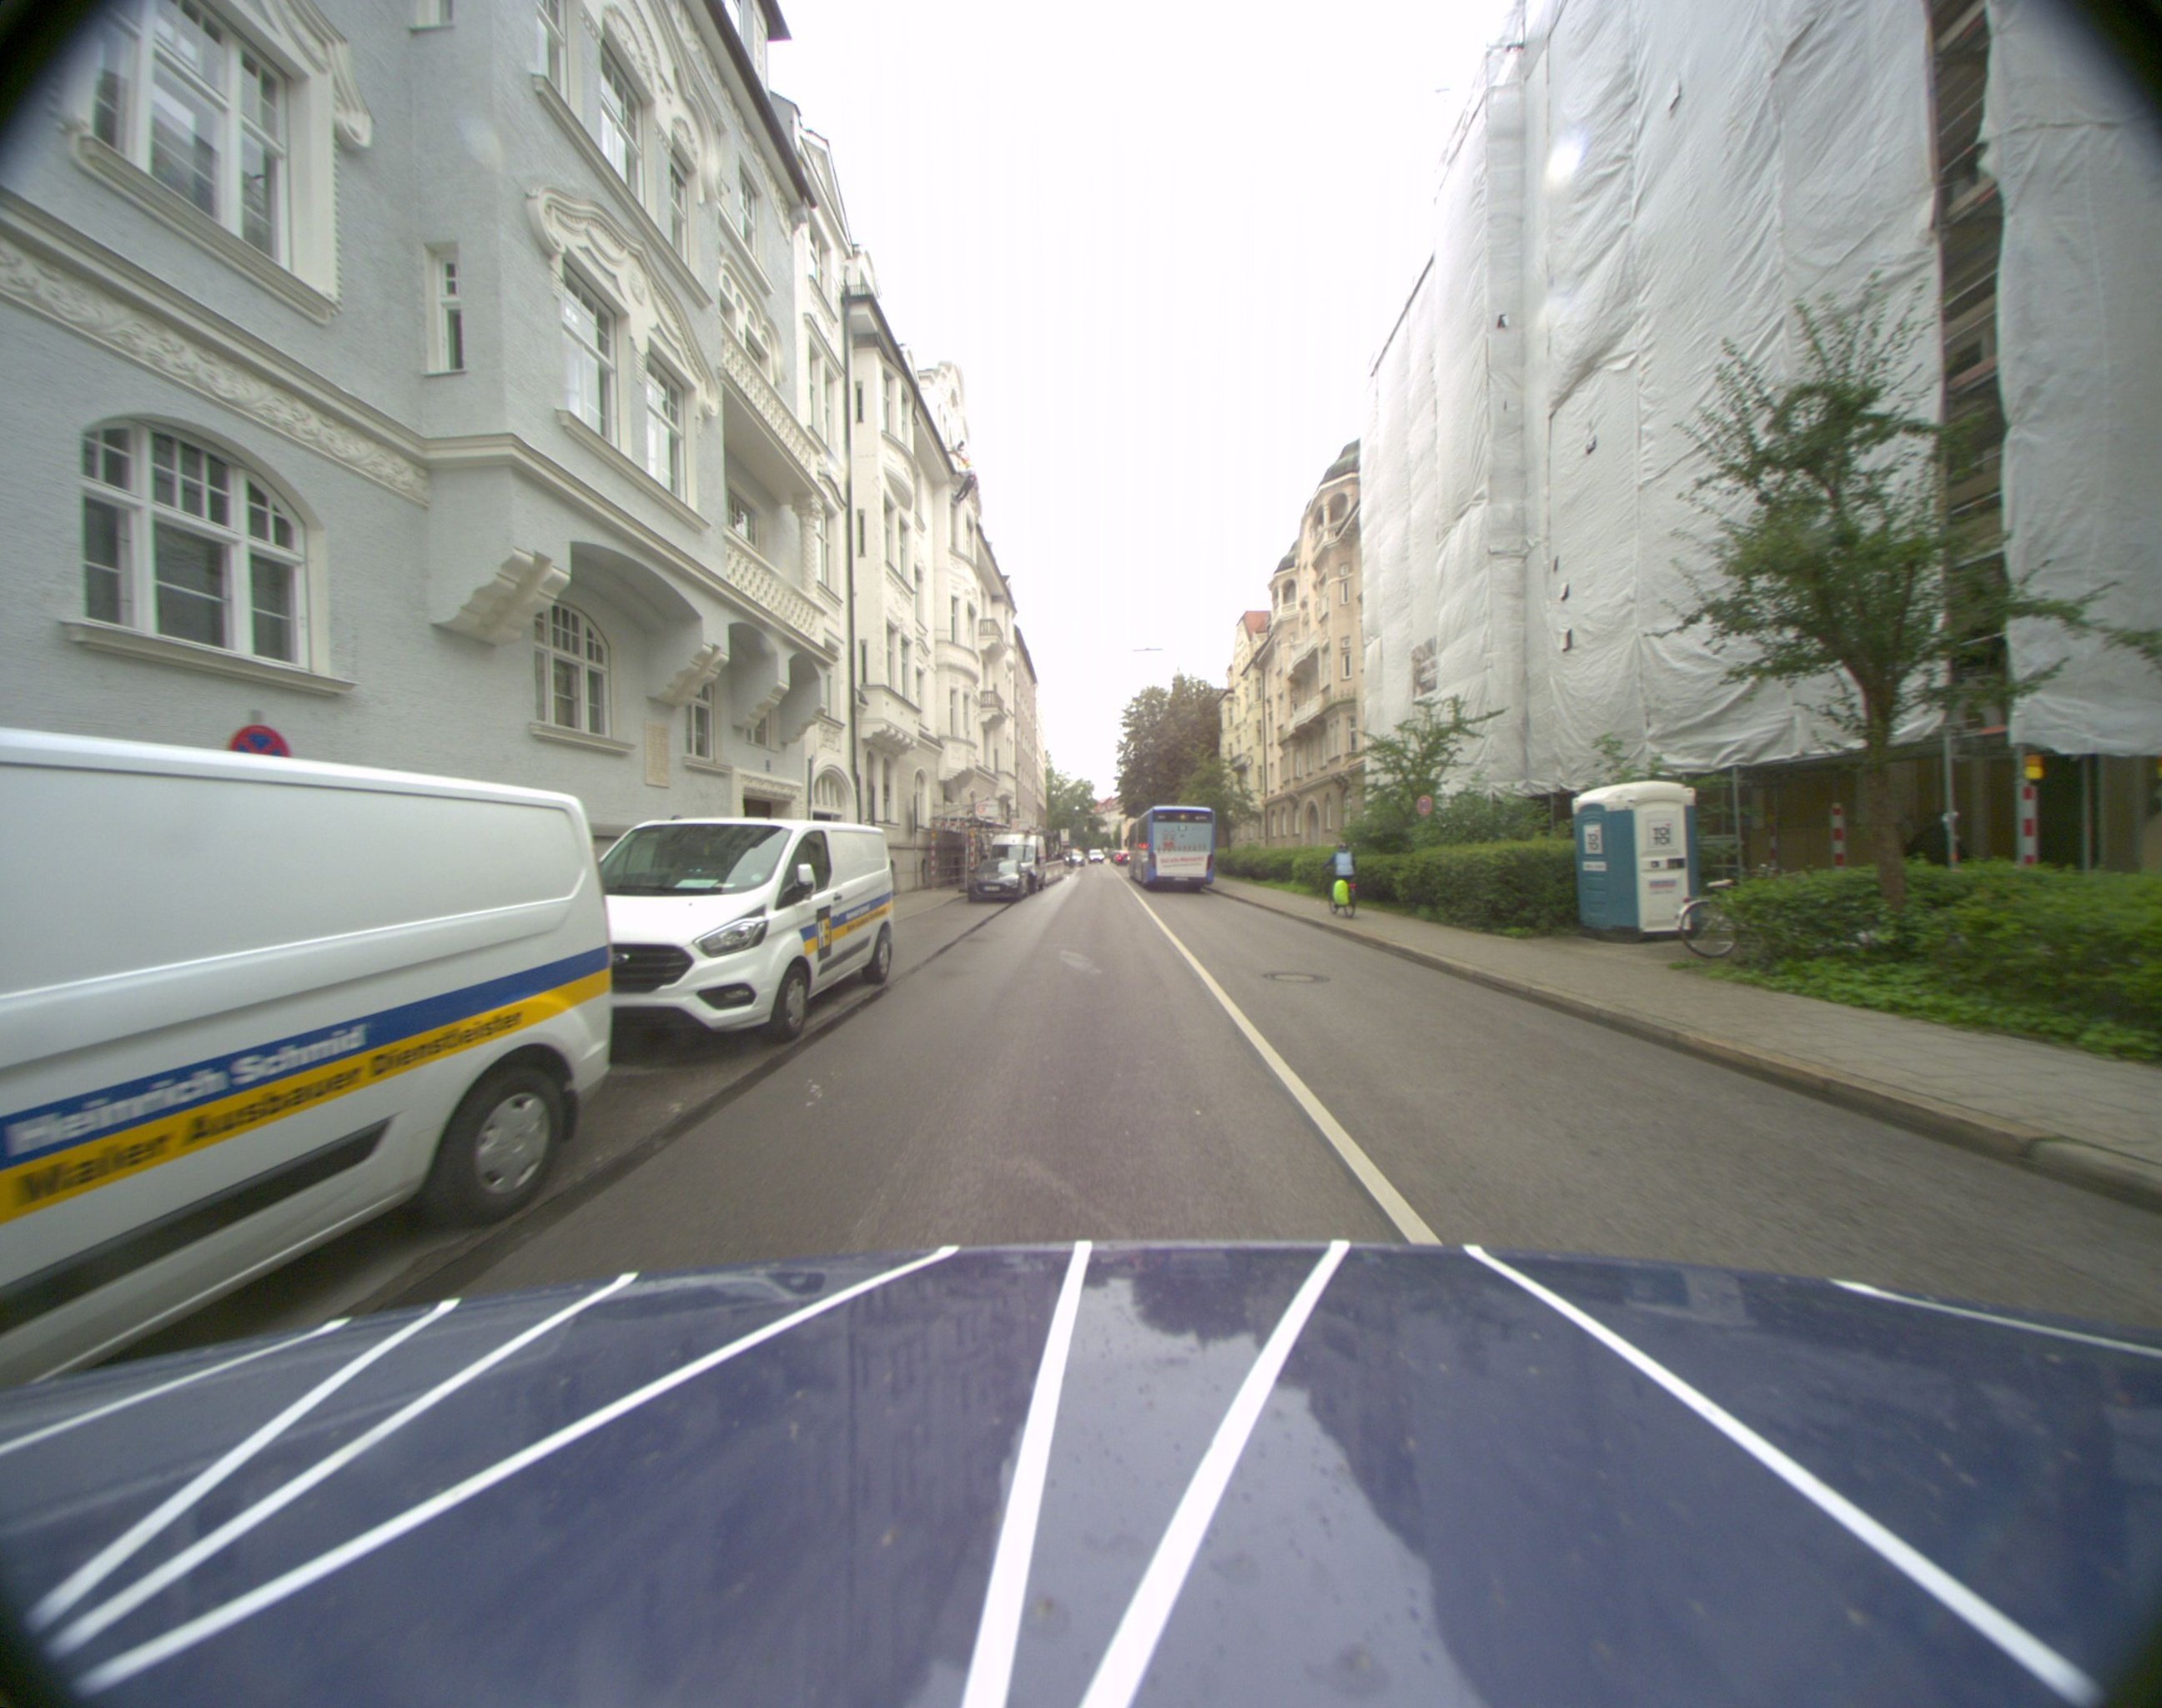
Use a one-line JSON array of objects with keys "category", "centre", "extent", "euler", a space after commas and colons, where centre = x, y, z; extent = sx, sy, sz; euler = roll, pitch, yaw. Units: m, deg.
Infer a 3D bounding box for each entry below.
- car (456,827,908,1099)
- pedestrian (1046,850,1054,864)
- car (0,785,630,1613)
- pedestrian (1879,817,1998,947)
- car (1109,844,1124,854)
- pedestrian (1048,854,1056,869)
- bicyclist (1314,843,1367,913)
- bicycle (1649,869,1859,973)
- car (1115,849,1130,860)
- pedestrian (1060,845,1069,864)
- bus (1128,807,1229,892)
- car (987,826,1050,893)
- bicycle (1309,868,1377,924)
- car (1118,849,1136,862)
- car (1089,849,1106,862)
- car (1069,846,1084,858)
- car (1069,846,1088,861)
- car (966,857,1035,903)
[{"category": "car", "centre": [-3.381, 0.759, 7.829], "extent": [1.998, 1.907, 4.877], "euler": [-1, 1, 1]}, {"category": "pedestrian", "centre": [-3.161, 0.301, 78.008], "extent": [0.837, 1.399, 0.866], "euler": [-1, 1, -2]}, {"category": "car", "centre": [-3.502, 0.809, 1.677], "extent": [1.998, 1.907, 4.886], "euler": [-1, 1, 1]}, {"category": "pedestrian", "centre": [12.031, 0.382, 10.688], "extent": [0.771, 1.736, 0.773], "euler": [-2, 1, 0]}, {"category": "car", "centre": [4.748, -0.689, 102.074], "extent": [1.723, 1.398, 4.001], "euler": [-1, 1, 6]}, {"category": "pedestrian", "centre": [-3.041, 0.748, 80.779], "extent": [0.837, 1.580, 0.806], "euler": [-1, 1, -2]}, {"category": "bicyclist", "centre": [5.796, 0.514, 17.001], "extent": [0.770, 1.484, 1.060], "euler": [-3, 1, 0]}, {"category": "bicycle", "centre": [8.273, 0.812, 9.404], "extent": [1.864, 1.071, 0.690], "euler": [-5, 1, 3]}, {"category": "car", "centre": [5.316, 0.053, 96.270], "extent": [1.723, 1.398, 4.001], "euler": [-1, 1, 6]}, {"category": "pedestrian", "centre": [-1.660, 0.038, 77.772], "extent": [0.826, 1.850, 0.820], "euler": [-1, 1, 0]}, {"category": "bus", "centre": [4.225, -0.265, 37.626], "extent": [3.179, 3.193, 18.057], "euler": [0, 1, 2]}, {"category": "car", "centre": [-2.610, 0.192, 32.952], "extent": [2.082, 2.673, 5.445], "euler": [0, 1, 2]}, {"category": "bicycle", "centre": [5.823, 0.908, 17.031], "extent": [0.770, 1.075, 2.050], "euler": [-3, 1, 0]}, {"category": "car", "centre": [5.053, 0.156, 83.309], "extent": [1.723, 1.398, 4.001], "euler": [-1, 1, 6]}, {"category": "car", "centre": [2.232, 0.178, 99.850], "extent": [1.918, 1.648, 4.603], "euler": [-1, 1, 5]}, {"category": "car", "centre": [-0.628, -0.362, 106.606], "extent": [1.723, 1.622, 4.001], "euler": [-1, 1, 6]}, {"category": "car", "centre": [-0.225, -0.033, 85.713], "extent": [1.723, 1.622, 4.001], "euler": [-1, 1, 6]}, {"category": "car", "centre": [-2.741, 0.862, 26.763], "extent": [1.792, 1.399, 4.244], "euler": [-1, 1, 2]}]
